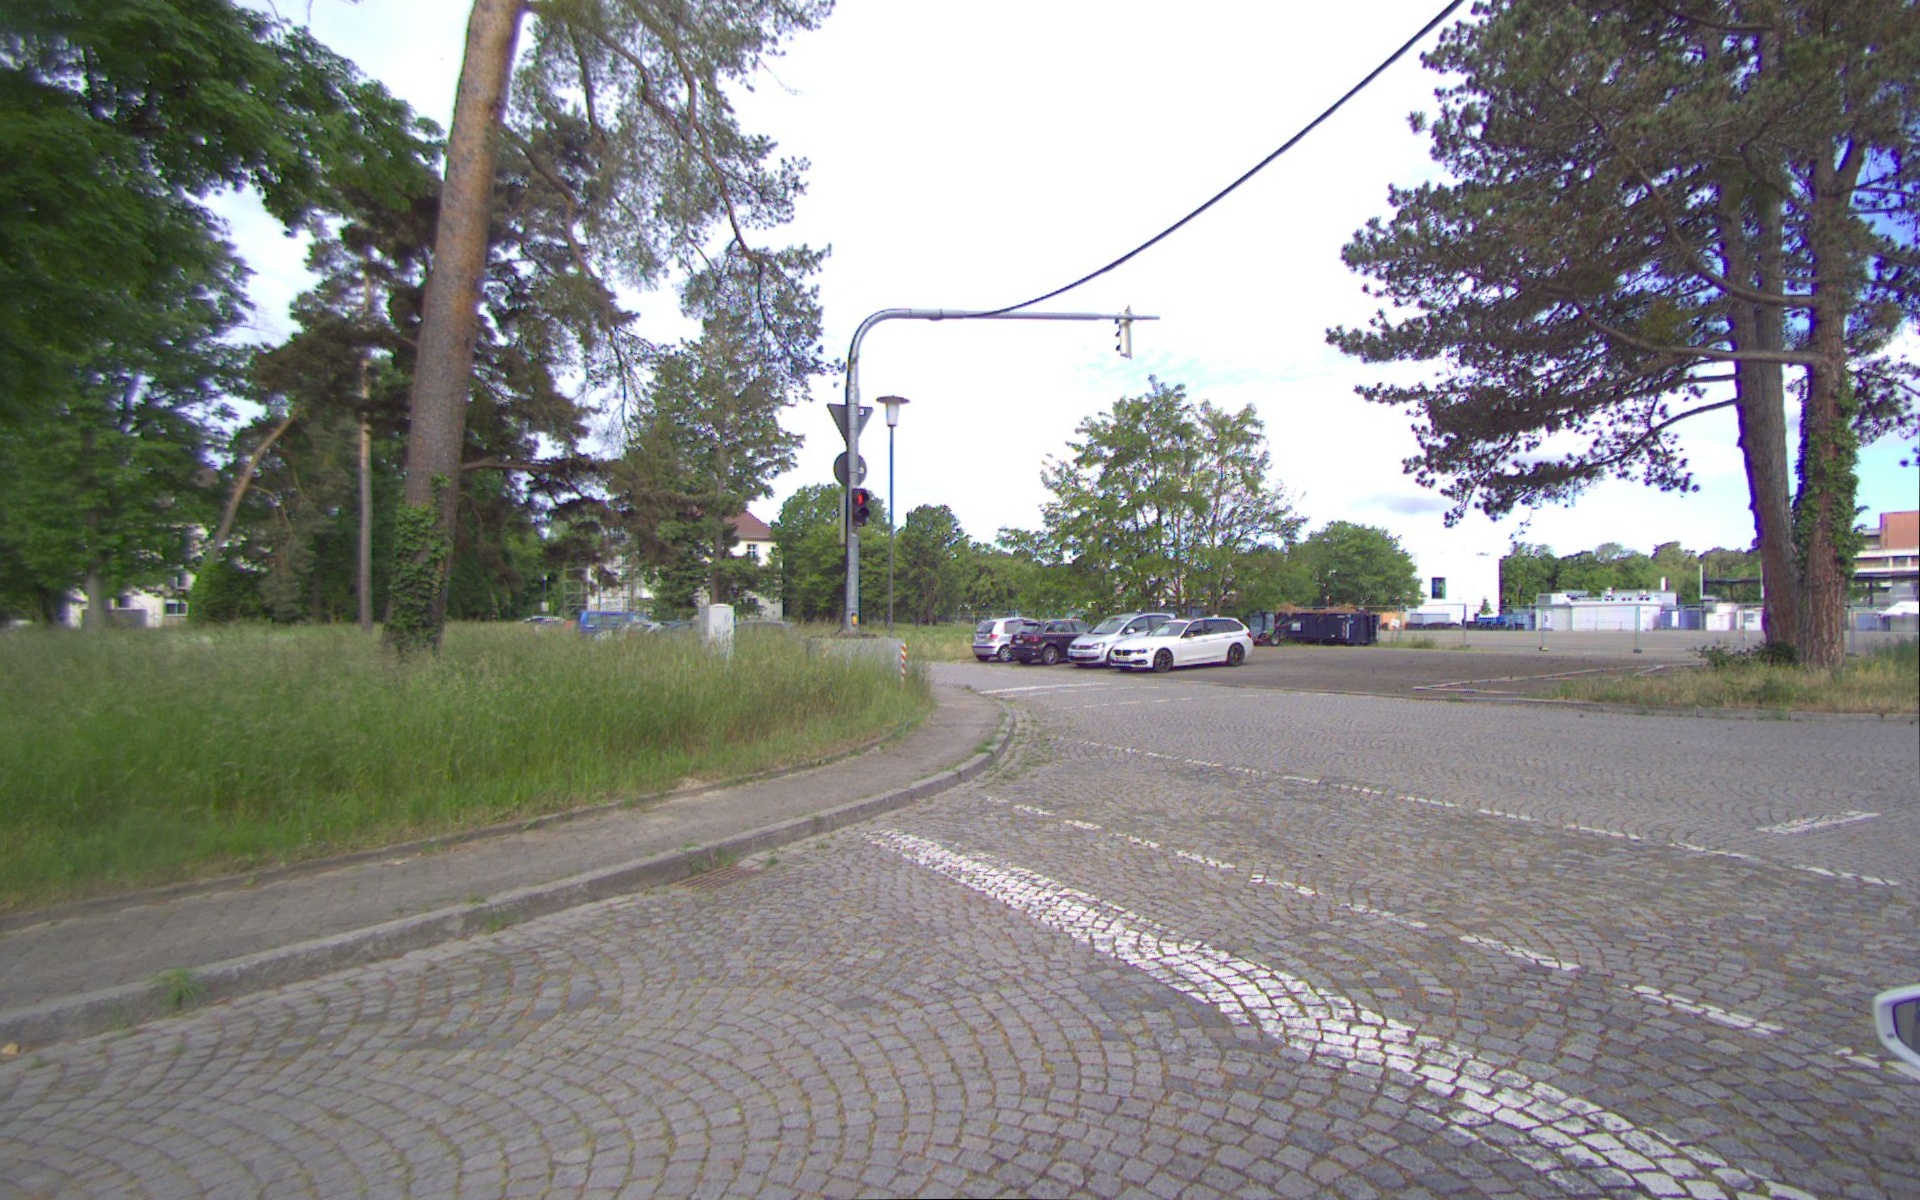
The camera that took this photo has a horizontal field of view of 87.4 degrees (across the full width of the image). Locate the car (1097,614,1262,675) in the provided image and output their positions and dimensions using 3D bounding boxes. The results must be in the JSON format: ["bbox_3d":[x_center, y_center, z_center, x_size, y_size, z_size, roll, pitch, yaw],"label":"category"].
[{"bbox_3d":[6.381,1.221,29.036,4.685,1.461,1.801,-2,0,-31],"label":"car"}]

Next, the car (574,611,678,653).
[{"bbox_3d":[-16.992,1.587,51.119,4.733,2.007,1.984,-1,-1,-28],"label":"car"}]

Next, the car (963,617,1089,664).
[{"bbox_3d":[2.370,1.404,35.865,4.277,1.587,1.784,0,-1,-31],"label":"car"}]

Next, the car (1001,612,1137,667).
[{"bbox_3d":[3.657,1.279,33.523,4.276,1.522,1.845,-3,0,-31],"label":"car"}]

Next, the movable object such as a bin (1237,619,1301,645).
[{"bbox_3d":[13.190,1.354,42.859,2.630,1.062,1.171,0,-1,-33],"label":"movable object such as a bin"}]

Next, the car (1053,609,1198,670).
[{"bbox_3d":[5.169,1.190,31.212,4.276,1.605,1.812,-3,1,-31],"label":"car"}]
